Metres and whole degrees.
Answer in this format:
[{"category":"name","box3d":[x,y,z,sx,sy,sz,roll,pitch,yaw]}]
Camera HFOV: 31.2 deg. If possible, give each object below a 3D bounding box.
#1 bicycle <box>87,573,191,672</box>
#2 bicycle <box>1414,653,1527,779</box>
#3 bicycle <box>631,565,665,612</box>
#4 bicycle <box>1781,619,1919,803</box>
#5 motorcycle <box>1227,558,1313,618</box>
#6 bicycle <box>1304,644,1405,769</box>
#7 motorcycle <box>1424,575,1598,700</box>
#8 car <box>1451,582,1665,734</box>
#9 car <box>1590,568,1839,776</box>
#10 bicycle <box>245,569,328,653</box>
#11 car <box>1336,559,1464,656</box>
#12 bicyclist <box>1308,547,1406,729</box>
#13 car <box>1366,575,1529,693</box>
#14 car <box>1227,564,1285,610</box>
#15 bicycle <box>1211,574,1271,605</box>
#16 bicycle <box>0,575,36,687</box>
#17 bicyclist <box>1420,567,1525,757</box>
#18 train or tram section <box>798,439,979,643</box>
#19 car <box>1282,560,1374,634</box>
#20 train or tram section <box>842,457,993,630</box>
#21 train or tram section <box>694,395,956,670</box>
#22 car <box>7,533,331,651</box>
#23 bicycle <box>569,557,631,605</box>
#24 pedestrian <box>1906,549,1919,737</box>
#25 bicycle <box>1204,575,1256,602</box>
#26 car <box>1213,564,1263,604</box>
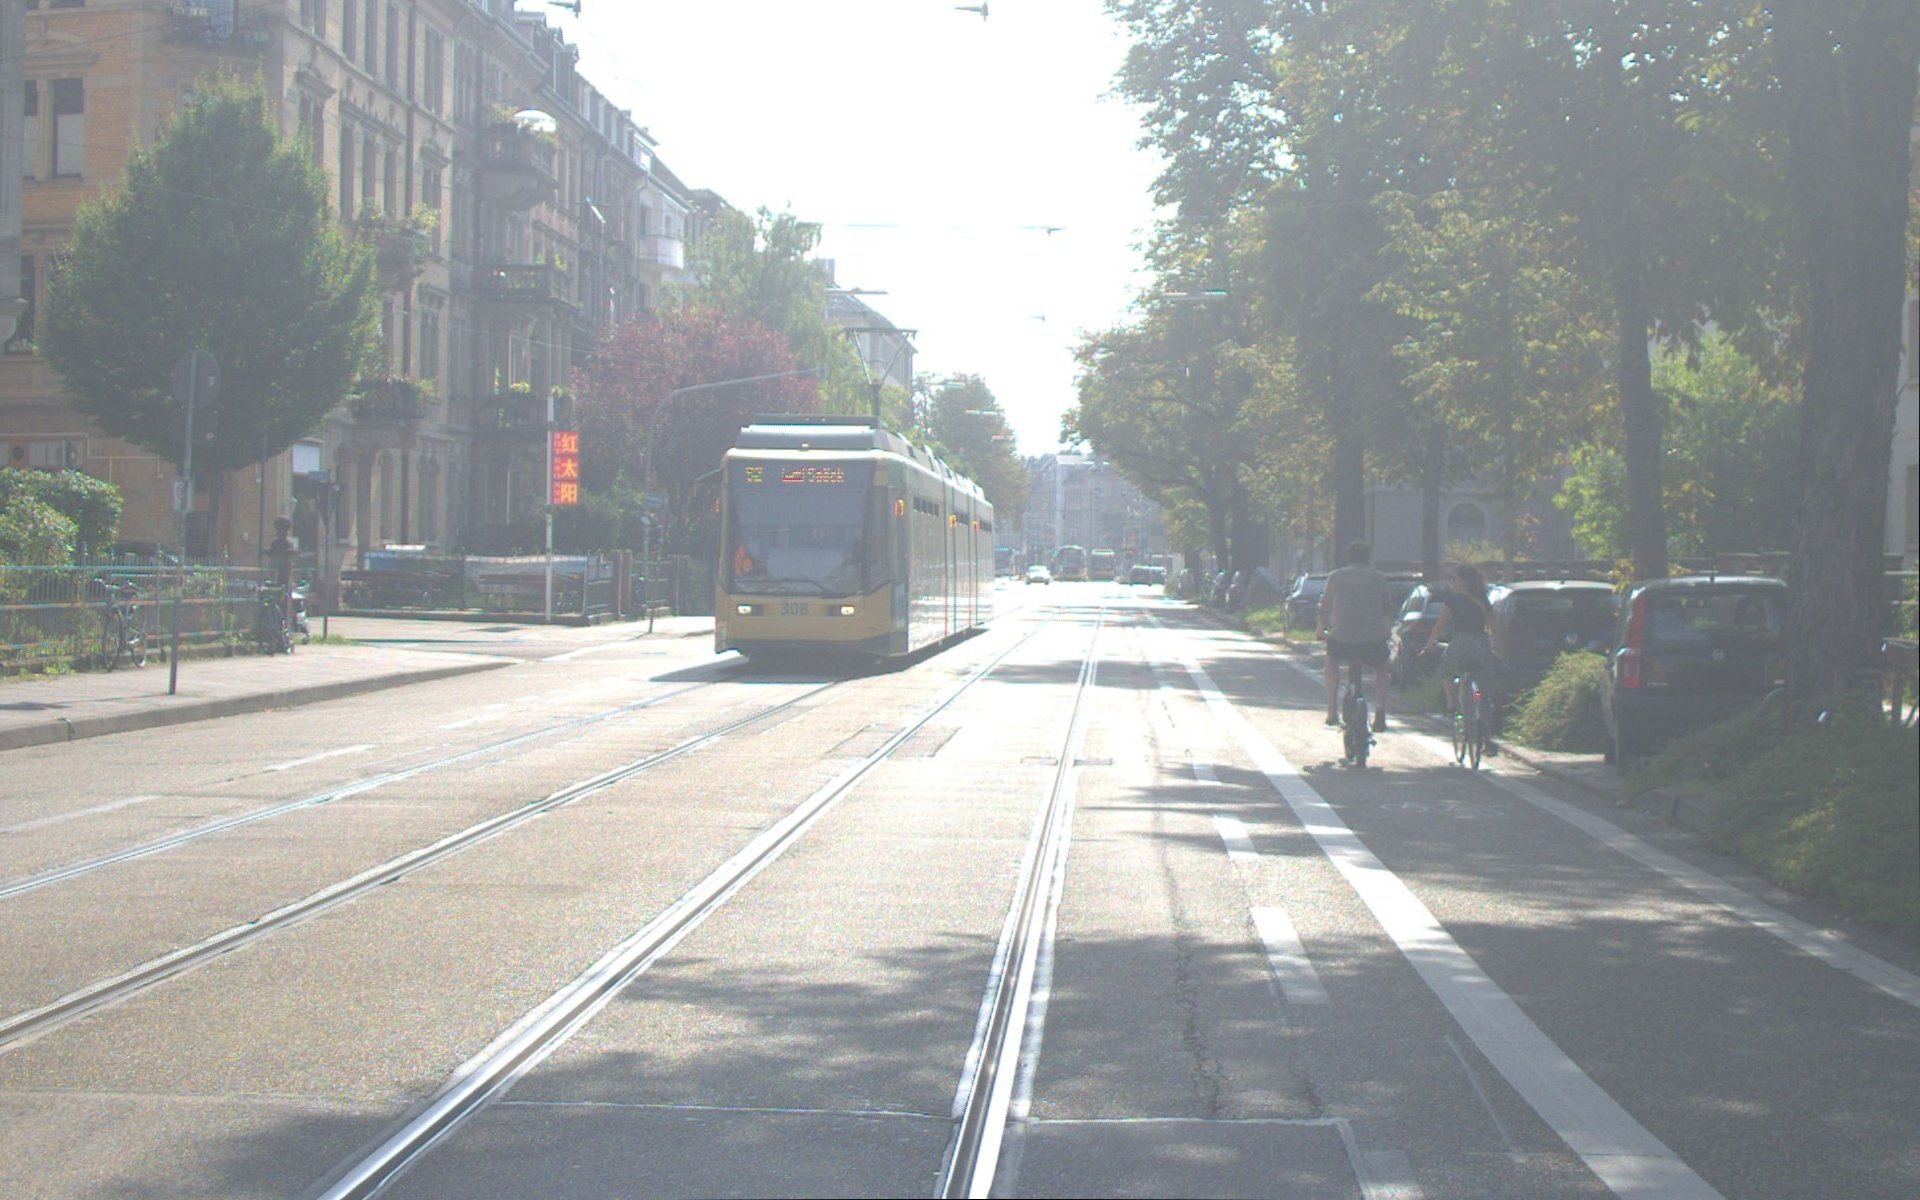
[{"category":"bicycle","box3d":[-9.357,0.243,39.247,0.545,1.054,1.839,5,1,4]},{"category":"bicycle","box3d":[4.094,0.916,27.680,0.654,0.906,1.775,3,1,2]},{"category":"bicycle","box3d":[-7.378,-0.281,81.330,0.508,1.104,2.003,1,0,3]},{"category":"bicycle","box3d":[5.742,0.666,21.122,0.525,1.069,1.724,2,1,44]},{"category":"motorcycle","box3d":[8.803,-0.354,97.803,0.911,1.668,2.419,-2,1,-43]},{"category":"bicycle","box3d":[3.134,0.835,27.408,0.626,0.906,1.525,3,1,2]},{"category":"motorcycle","box3d":[6.329,0.423,39.522,1.854,1.285,0.705,-3,5,0]},{"category":"car","box3d":[6.067,0.551,35.290,1.645,1.443,4.245,-1,0,3]},{"category":"car","box3d":[5.961,0.523,27.511,1.646,1.535,3.841,-1,0,8]},{"category":"bicycle","box3d":[-9.053,0.133,46.265,0.545,1.054,1.839,5,1,4]},{"category":"car","box3d":[7.171,0.113,56.339,1.689,1.497,4.095,-1,0,2]},{"category":"bicyclist","box3d":[3.157,0.290,27.413,0.626,1.396,0.929,3,0,2]},{"category":"car","box3d":[6.495,0.421,46.214,1.689,1.430,4.336,-2,1,2]},{"category":"car","box3d":[9.776,-0.435,113.602,1.727,1.499,3.984,-1,0,3]},{"category":"bicycle","box3d":[10.372,-0.389,126.955,2.106,1.101,0.563,1,0,-4]},{"category":"bicycle","box3d":[-9.604,0.297,33.318,0.606,1.054,1.839,5,1,4]},{"category":"bicyclist","box3d":[4.116,0.484,27.660,0.654,1.469,0.908,3,0,2]},{"category":"train or tram section","box3d":[-1.219,-1.101,65.343,2.734,3.493,10.775,2,1,2]},{"category":"car","box3d":[8.031,-0.088,75.278,1.744,1.555,4.718,0,0,3]},{"category":"train or tram section","box3d":[-0.828,-1.231,76.159,2.734,3.493,10.775,2,1,2]},{"category":"train or tram section","box3d":[-1.765,-0.973,52.269,2.734,3.493,15.432,2,1,2]},{"category":"car","box3d":[-11.426,-0.108,49.847,4.137,1.538,2.064,2,0,2]},{"category":"bicycle","box3d":[-8.416,-0.450,80.352,1.357,1.056,0.417,3,0,0]},{"category":"pedestrian","box3d":[9.314,0.402,32.164,0.752,1.743,0.878,1,1,9]},{"category":"bicycle","box3d":[11.071,-0.476,141.073,2.107,1.101,0.616,0,0,2]},{"category":"car","box3d":[10.563,-0.602,130.608,1.772,1.468,3.973,0,0,3]}]
